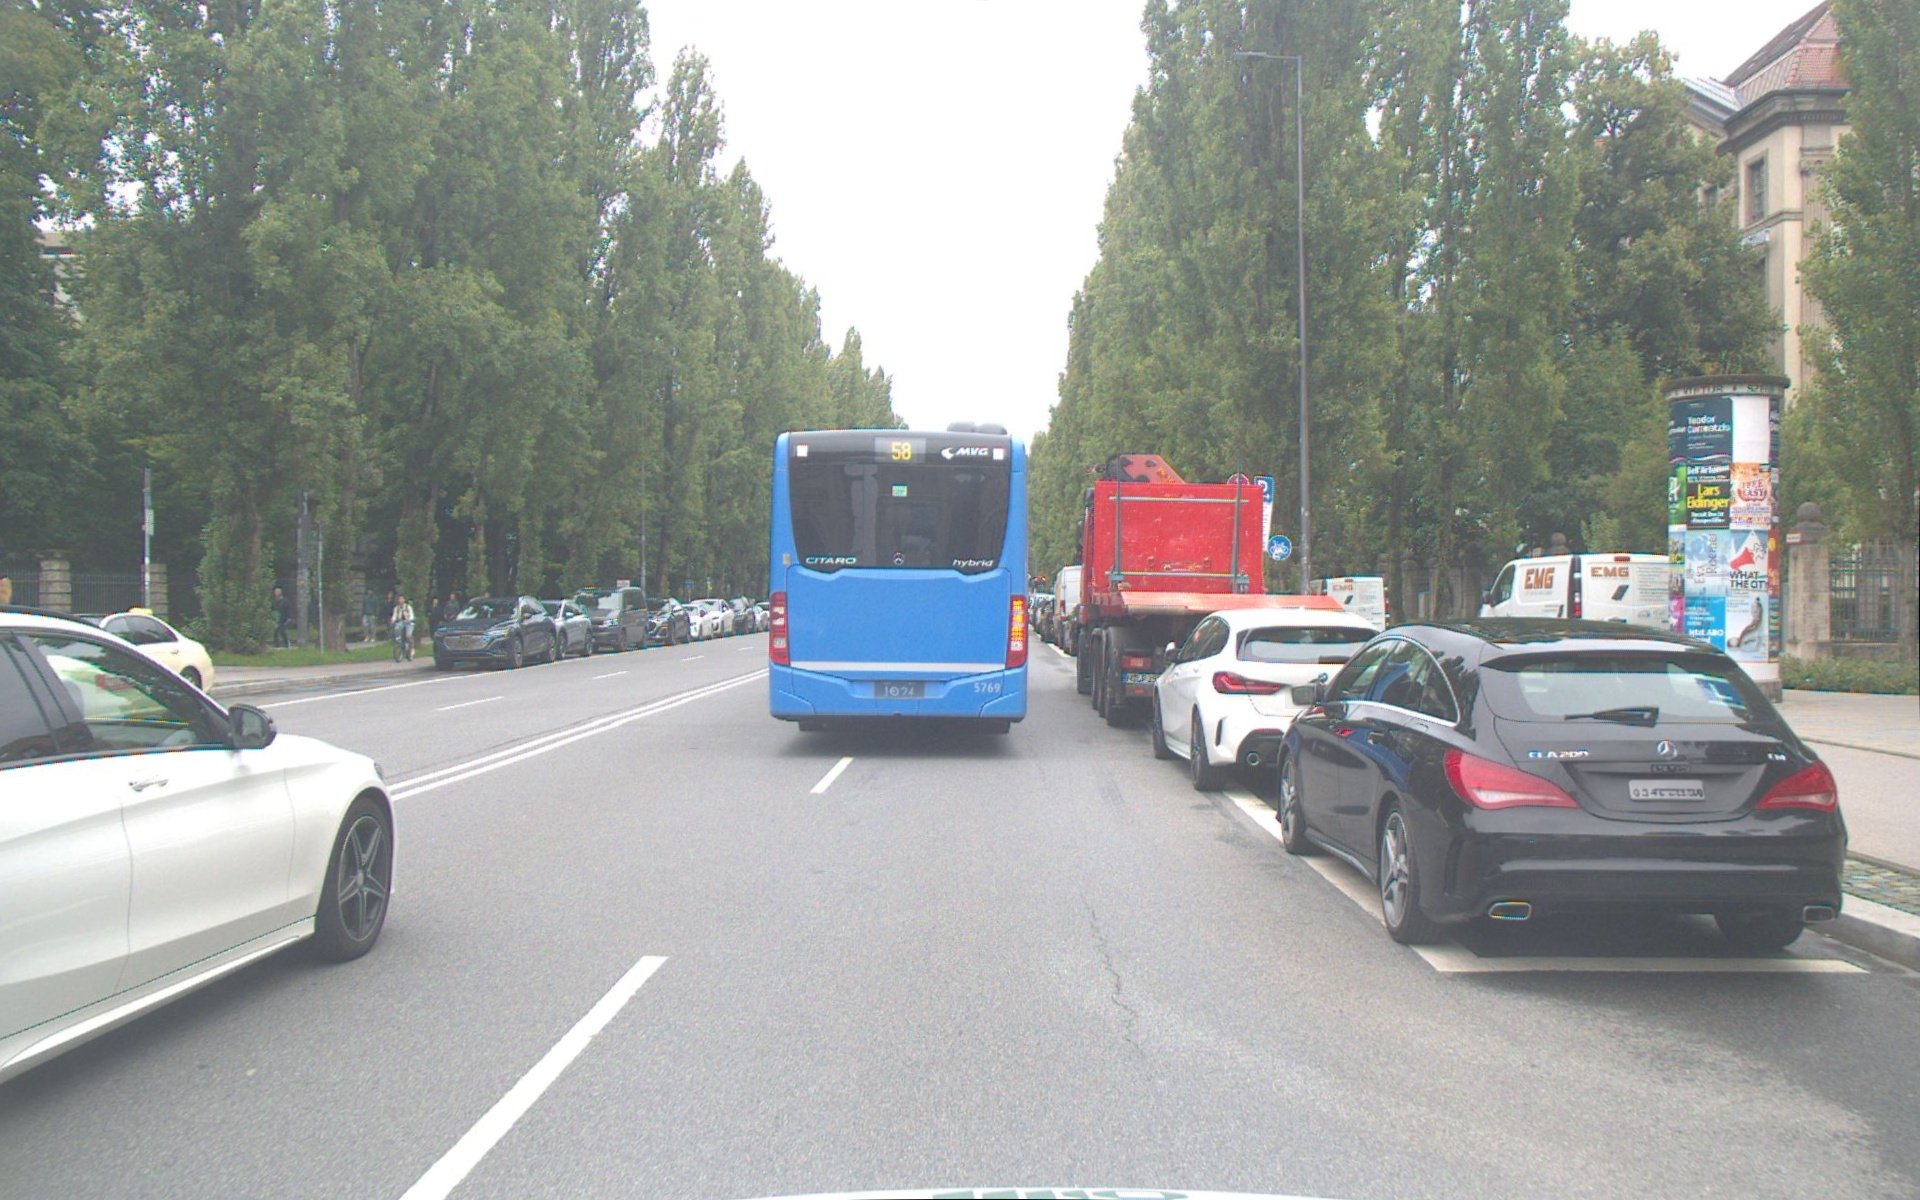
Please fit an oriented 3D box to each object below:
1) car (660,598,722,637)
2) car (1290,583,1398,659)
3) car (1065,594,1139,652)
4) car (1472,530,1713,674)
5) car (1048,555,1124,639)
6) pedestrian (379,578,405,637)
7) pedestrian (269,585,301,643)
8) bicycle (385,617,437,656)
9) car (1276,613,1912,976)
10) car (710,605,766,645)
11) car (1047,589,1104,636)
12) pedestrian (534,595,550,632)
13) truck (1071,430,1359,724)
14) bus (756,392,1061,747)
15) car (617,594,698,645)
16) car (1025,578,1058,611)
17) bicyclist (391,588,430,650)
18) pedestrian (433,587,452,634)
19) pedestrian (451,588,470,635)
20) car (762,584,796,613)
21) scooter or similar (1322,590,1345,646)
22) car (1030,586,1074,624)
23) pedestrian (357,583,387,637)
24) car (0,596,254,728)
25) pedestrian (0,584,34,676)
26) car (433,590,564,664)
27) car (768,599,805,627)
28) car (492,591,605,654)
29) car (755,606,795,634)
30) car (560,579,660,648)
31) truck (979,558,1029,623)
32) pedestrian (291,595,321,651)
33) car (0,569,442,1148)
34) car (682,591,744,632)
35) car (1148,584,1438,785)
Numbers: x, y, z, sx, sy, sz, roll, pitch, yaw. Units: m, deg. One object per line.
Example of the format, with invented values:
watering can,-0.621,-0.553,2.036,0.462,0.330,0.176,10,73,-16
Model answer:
car,-10.561,0.673,65.086,1.642,1.447,4.237,-2,-1,1
car,10.545,0.556,45.806,1.952,1.980,5.084,0,0,2
car,3.900,0.612,45.963,1.718,1.475,4.000,2,0,1
car,9.678,0.036,25.760,1.842,1.979,4.885,2,0,0
car,3.994,-0.079,53.275,2.031,2.522,6.284,1,0,1
pedestrian,-19.849,0.255,57.772,0.652,2.049,0.639,1,0,0
pedestrian,-19.762,0.404,48.413,0.605,1.689,0.704,1,0,2
bicycle,-13.742,0.904,41.446,0.693,0.955,1.735,1,0,0
car,2.809,0.752,8.436,1.699,1.333,4.371,0,0,2
car,-10.207,1.141,76.353,1.841,1.687,4.718,-2,0,0
car,4.121,0.450,59.628,1.783,1.618,4.223,1,0,1
pedestrian,-19.843,0.645,78.512,0.538,1.778,0.673,1,-1,0
truck,3.105,-0.230,23.074,2.657,3.164,10.428,0,0,1
bus,-0.562,-0.273,19.921,2.798,3.270,9.057,1,0,-1
car,-10.611,0.680,58.297,1.778,1.637,5.053,-2,0,1
car,5.158,-0.360,105.092,2.010,2.049,5.693,0,0,2
bicyclist,-13.734,0.466,41.378,0.679,1.524,0.861,0,0,0
pedestrian,-19.209,0.400,61.424,0.498,1.737,0.569,1,0,2
pedestrian,-18.560,0.430,61.500,0.498,1.737,0.569,1,0,2
car,-10.370,-0.081,94.898,1.709,1.545,4.114,-2,0,-4
scooter or similar,8.809,0.416,39.027,0.329,1.288,1.186,0,0,2
car,4.123,0.238,74.220,1.744,1.609,4.147,2,0,1
pedestrian,-20.446,0.343,57.543,0.731,1.887,0.757,1,0,2
car,-11.454,0.740,22.028,1.891,1.523,4.791,-1,0,2
pedestrian,-18.399,0.570,31.947,0.570,1.750,0.787,1,0,0
car,-11.062,0.620,39.950,1.745,1.624,4.614,-2,0,1
car,-10.423,0.776,99.511,1.777,1.672,4.000,0,0,1
car,-11.232,0.598,45.495,1.851,1.612,4.655,-1,0,1
car,-10.065,1.071,90.200,1.650,1.437,4.004,-2,0,0
car,-10.848,0.397,51.581,1.952,1.990,4.937,-2,0,1
truck,2.061,-0.418,79.137,2.279,2.949,7.333,0,0,1
pedestrian,-20.691,0.727,52.347,0.653,1.752,0.733,0,0,2
car,-3.300,0.651,5.052,1.787,1.480,4.584,1,0,2
car,-10.447,0.469,70.244,1.748,1.616,4.462,-2,0,2
car,2.735,0.634,14.497,1.751,1.485,4.218,1,0,1
